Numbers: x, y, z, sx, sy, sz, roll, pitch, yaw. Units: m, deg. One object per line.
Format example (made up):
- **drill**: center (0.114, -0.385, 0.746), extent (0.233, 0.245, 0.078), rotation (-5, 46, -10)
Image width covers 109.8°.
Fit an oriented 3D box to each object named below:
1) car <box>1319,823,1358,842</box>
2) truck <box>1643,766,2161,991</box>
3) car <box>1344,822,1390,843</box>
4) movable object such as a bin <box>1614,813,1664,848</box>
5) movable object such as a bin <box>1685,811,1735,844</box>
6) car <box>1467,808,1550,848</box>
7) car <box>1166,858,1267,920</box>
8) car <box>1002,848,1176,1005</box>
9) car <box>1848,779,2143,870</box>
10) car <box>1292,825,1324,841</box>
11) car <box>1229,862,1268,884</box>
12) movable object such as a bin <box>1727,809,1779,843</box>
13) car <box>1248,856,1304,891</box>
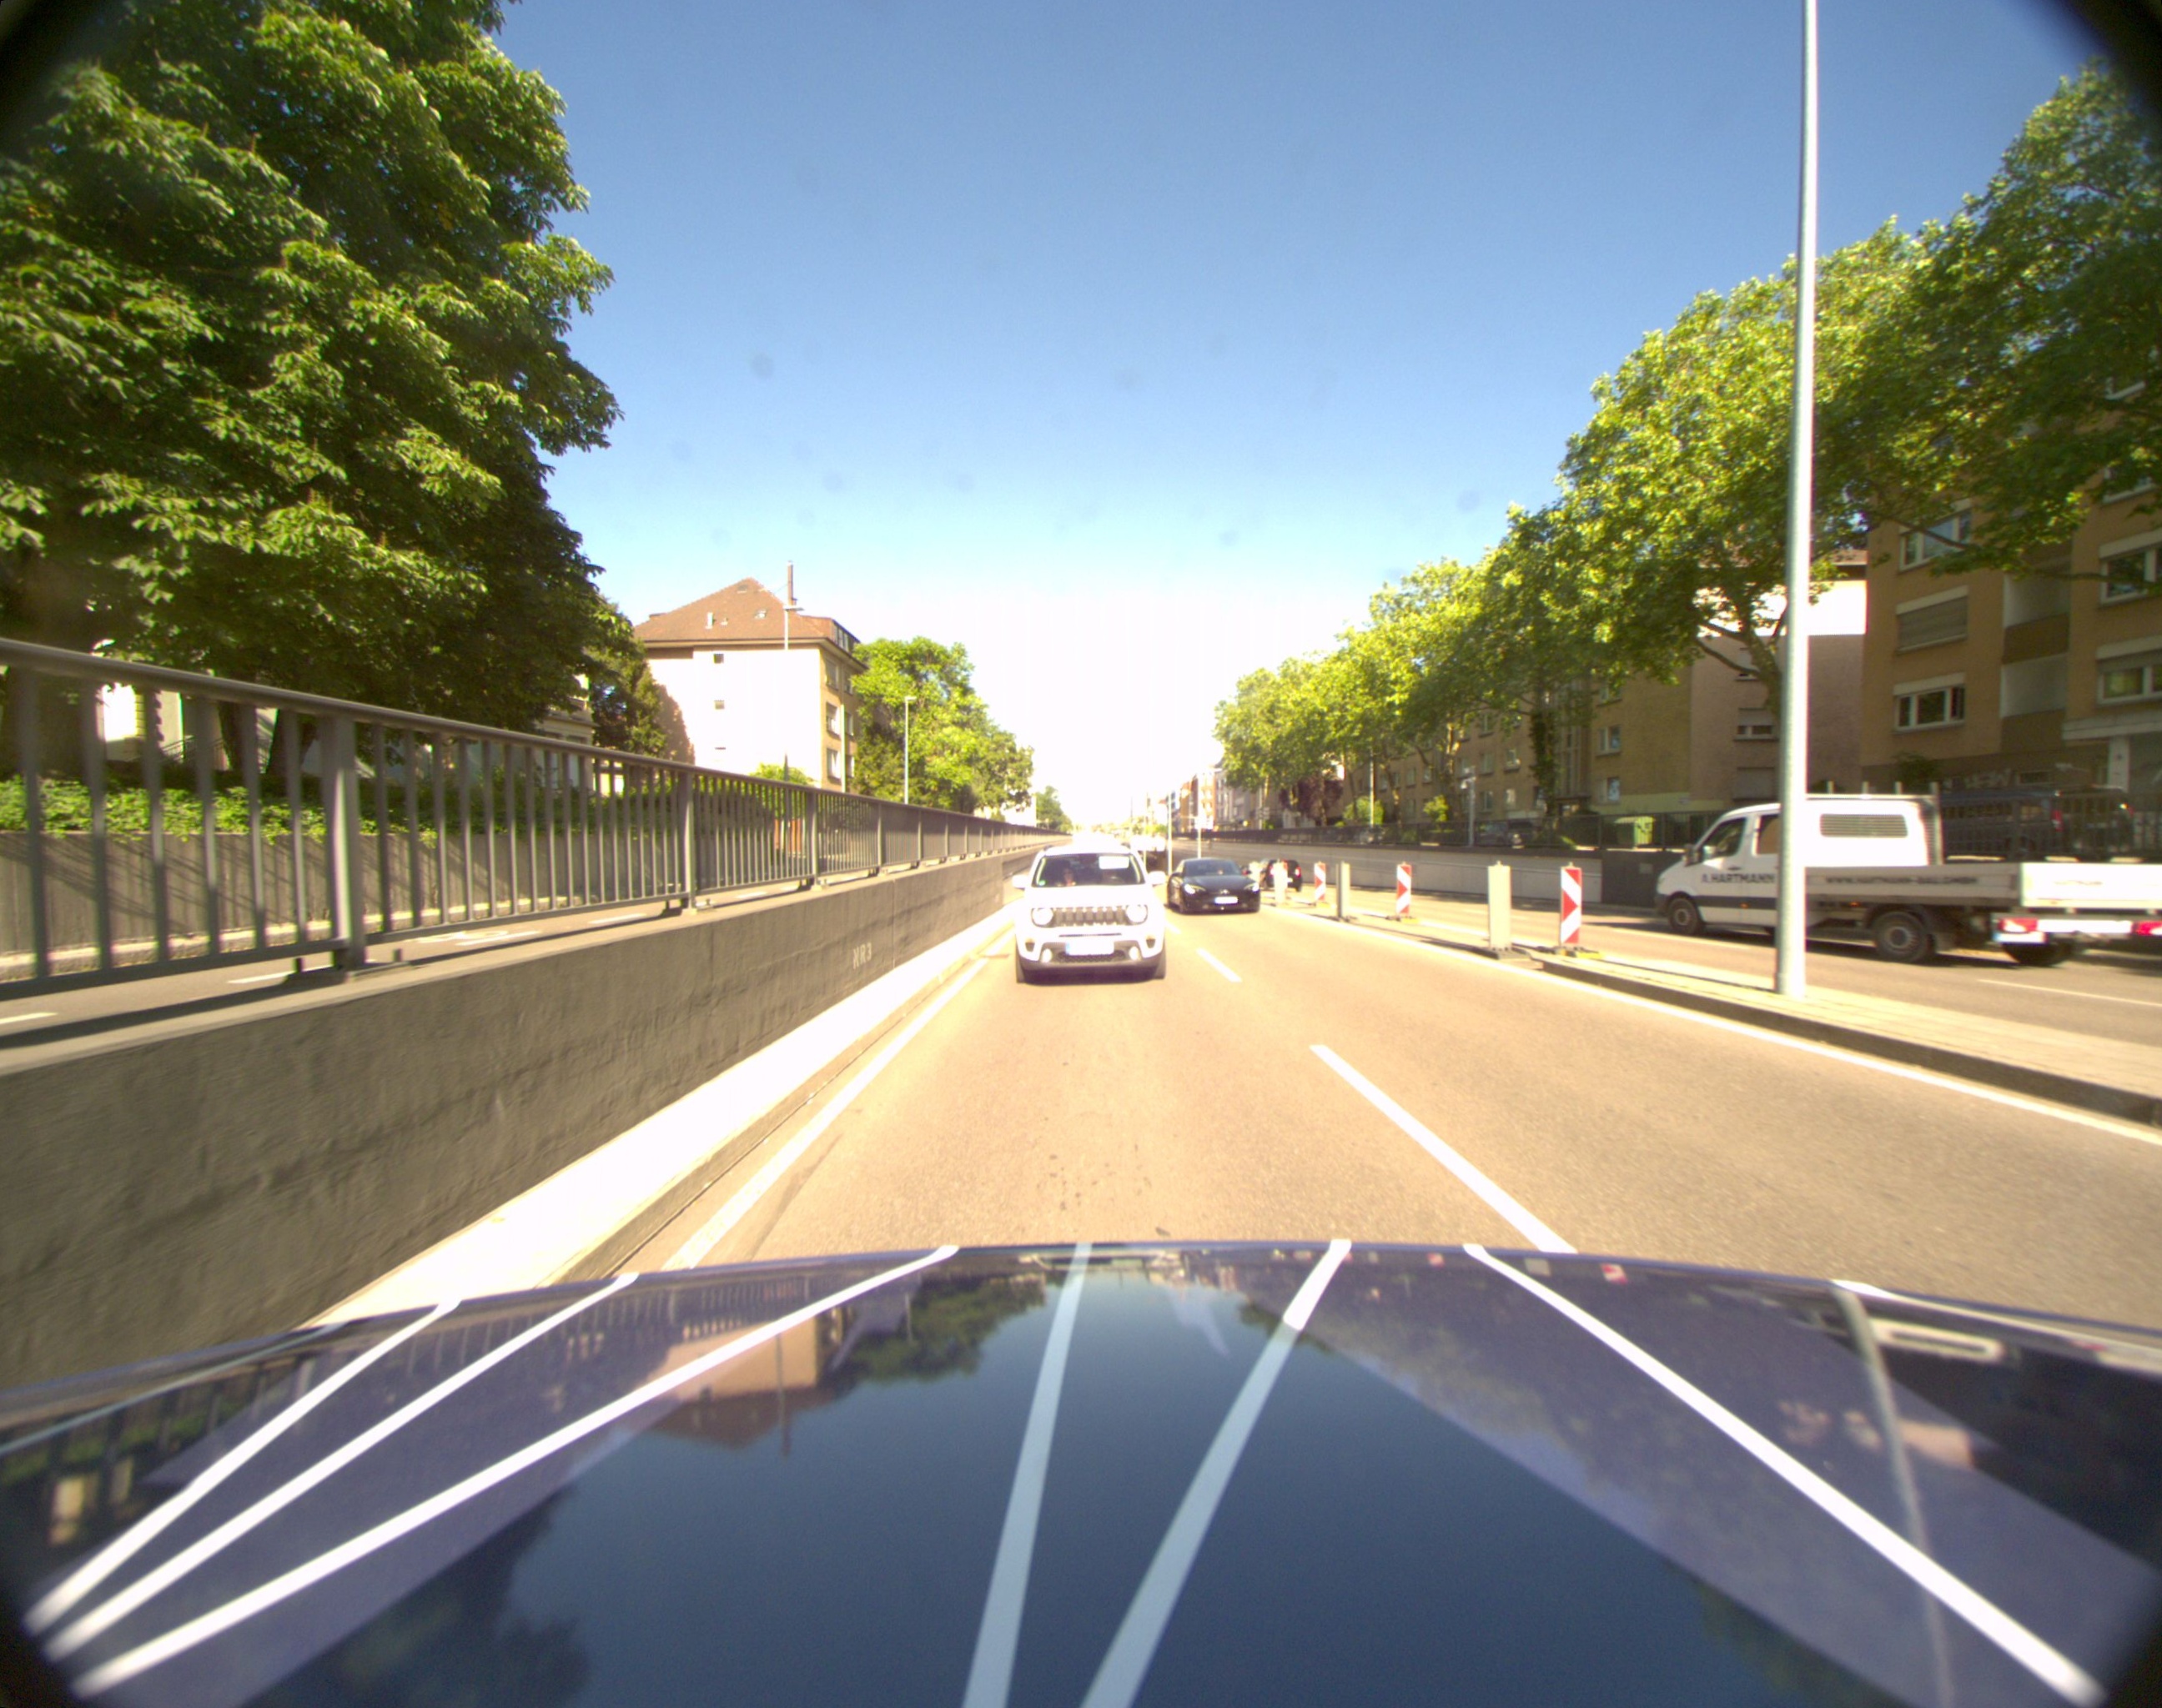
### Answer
- **car**: center (23.335, -1.896, 69.042), extent (1.926, 1.575, 4.303), rotation (-2, 1, -1)
- **truck**: center (11.916, 0.296, 11.602), extent (2.234, 2.513, 6.130), rotation (1, 0, 2)
- **car**: center (22.880, -1.721, 60.906), extent (1.926, 1.575, 4.303), rotation (-2, 1, -1)
- **movable object such as a bin**: center (25.262, -1.054, 34.448), extent (1.209, 1.475, 1.357), rotation (-2, 1, -7)
- **movable object such as a bin**: center (28.911, -1.206, 34.952), extent (1.317, 1.476, 1.147), rotation (-2, 1, -2)
- **car**: center (23.013, -1.356, 41.123), extent (1.970, 1.949, 4.413), rotation (-2, 1, 1)
- **car**: center (3.494, 0.858, 20.392), extent (1.998, 1.407, 4.000), rotation (-2, 0, 1)
- **car**: center (0.108, 0.804, 10.347), extent (1.855, 1.658, 3.970), rotation (-2, 0, 1)
- **car**: center (22.696, -0.698, 19.221), extent (1.971, 1.949, 4.526), rotation (-2, 1, -1)
- **car**: center (23.467, -2.139, 78.641), extent (1.926, 1.575, 4.303), rotation (-2, 1, -1)
- **car**: center (10.251, 1.130, 46.779), extent (1.542, 1.292, 3.928), rotation (2, -1, 0)
- **movable object such as a bin**: center (30.672, -1.284, 34.707), extent (1.317, 1.476, 1.147), rotation (-2, 1, -2)
- **car**: center (8.785, 0.858, 34.517), extent (1.613, 1.449, 3.608), rotation (1, 0, 0)
